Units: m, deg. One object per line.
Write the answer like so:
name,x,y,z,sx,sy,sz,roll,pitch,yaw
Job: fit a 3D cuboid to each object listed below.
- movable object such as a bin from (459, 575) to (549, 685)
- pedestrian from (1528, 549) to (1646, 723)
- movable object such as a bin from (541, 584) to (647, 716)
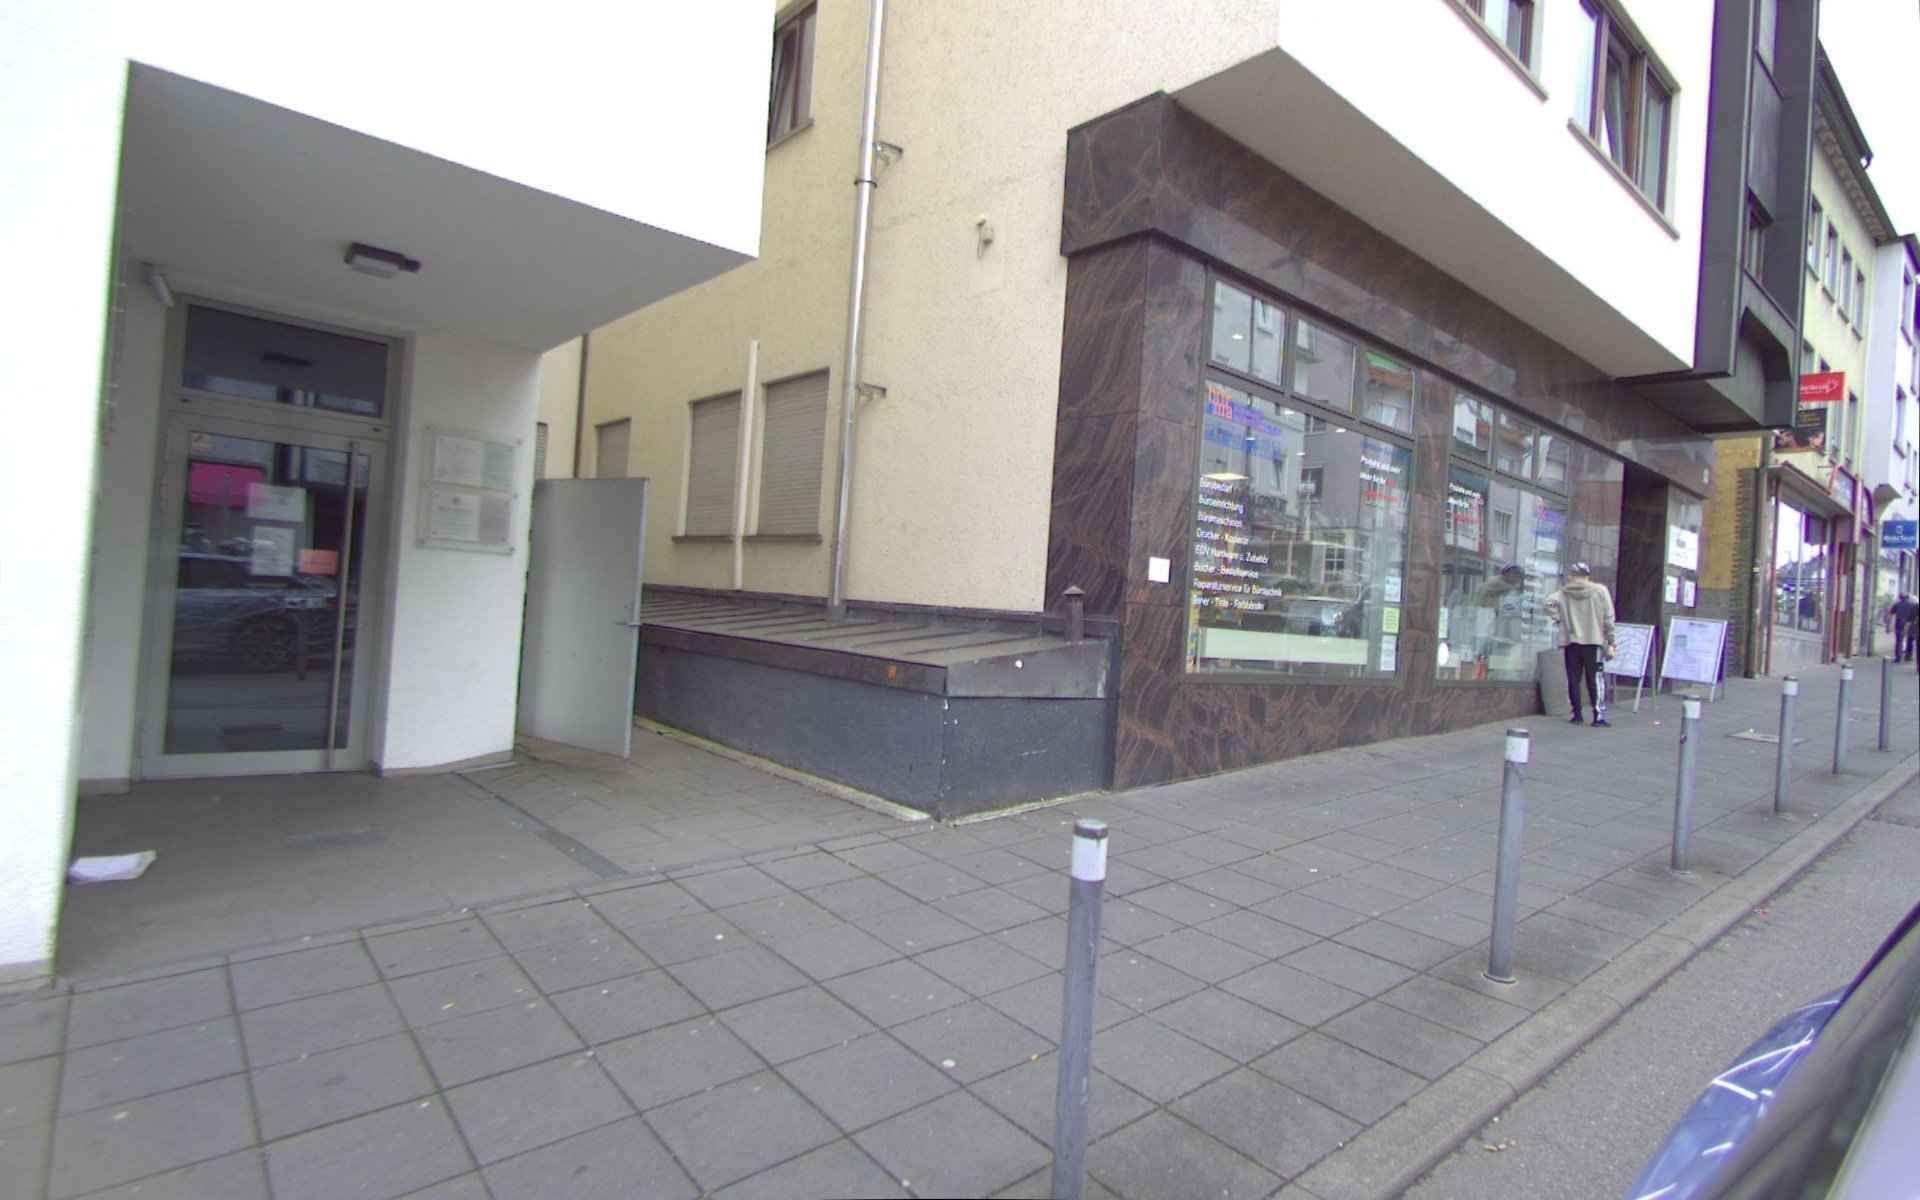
movable object such as a bin,-4.769,0.291,10.577,0.643,1.072,0.747,0,2,-42
pedestrian,6.580,0.349,10.622,0.767,1.693,0.759,1,4,-43
movable object such as a bin,-3.221,0.415,8.897,0.643,1.072,0.723,0,2,-42
